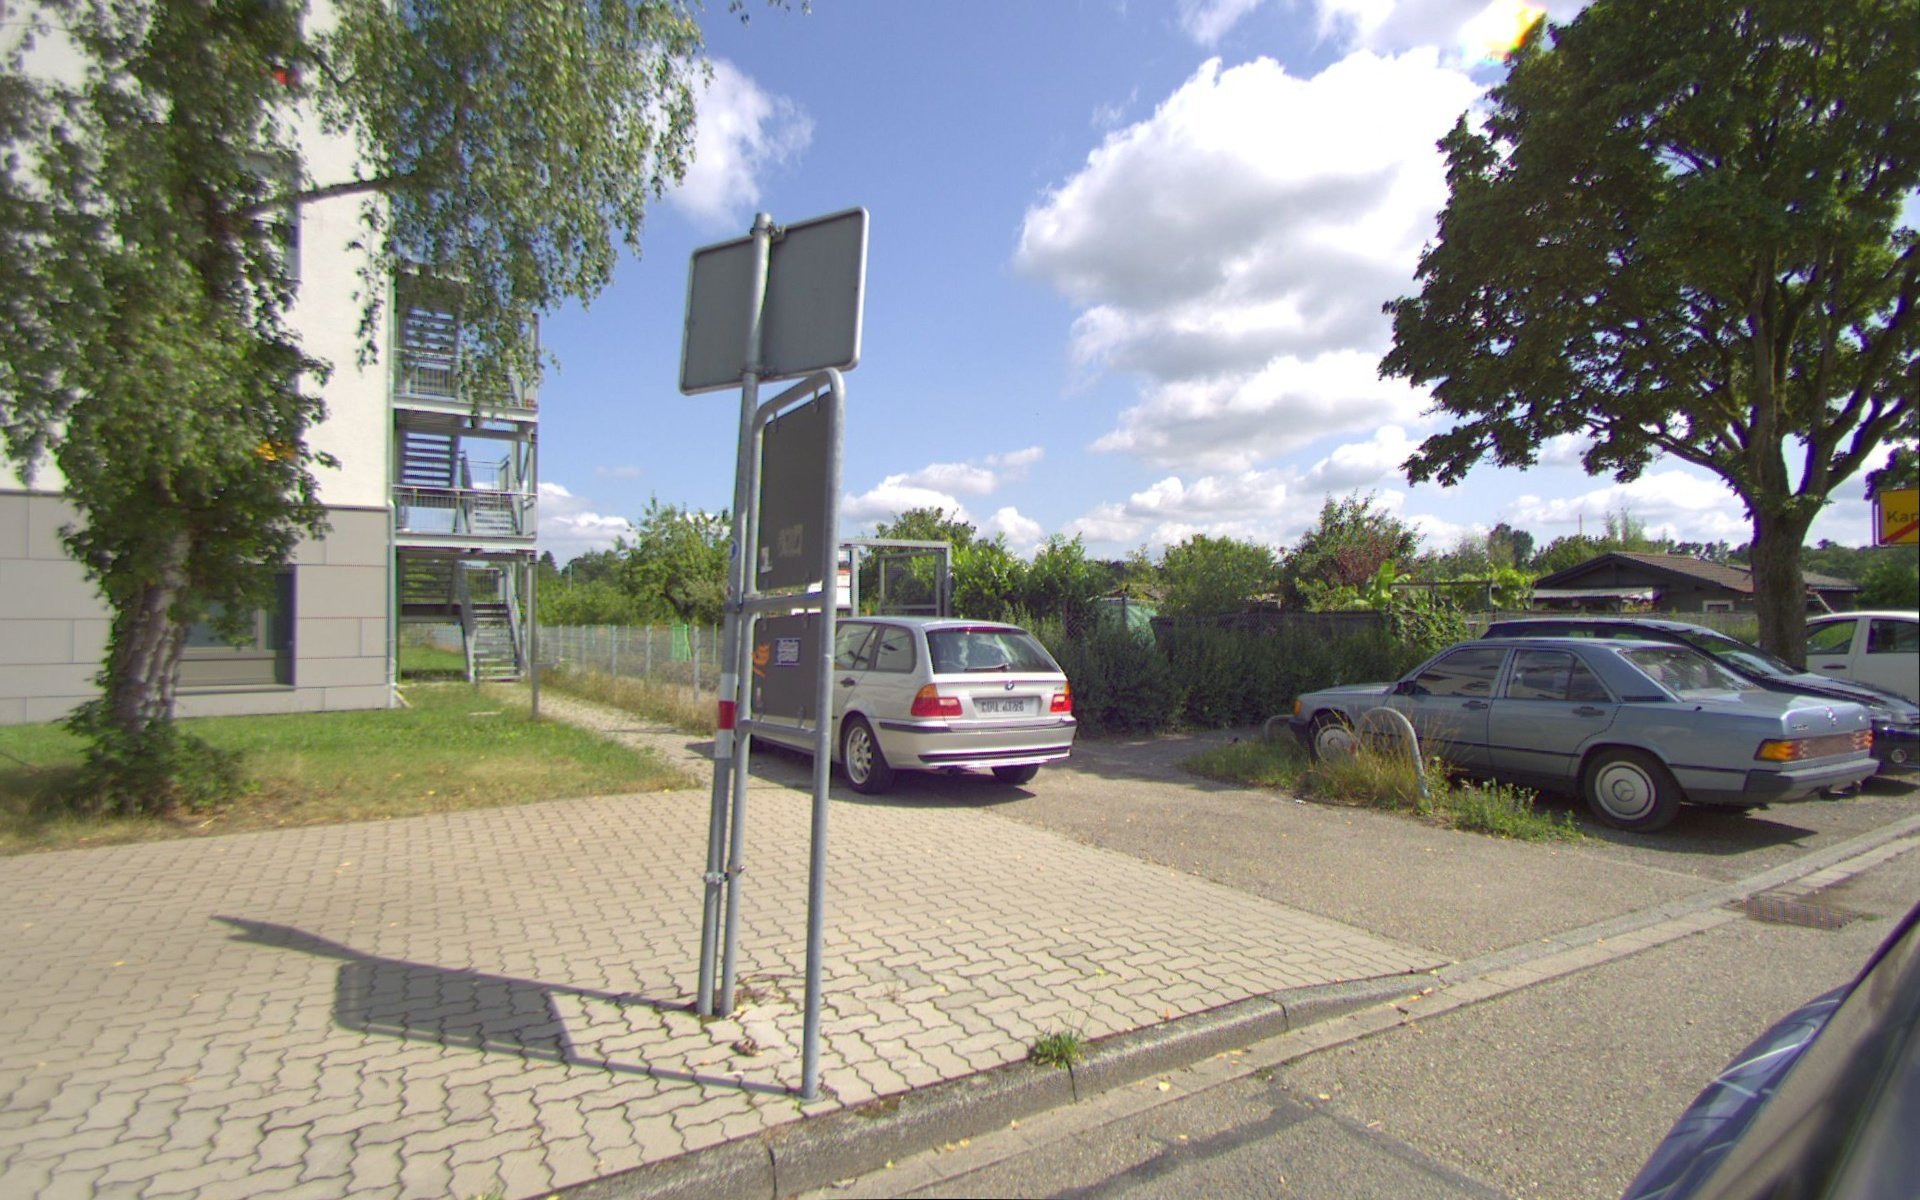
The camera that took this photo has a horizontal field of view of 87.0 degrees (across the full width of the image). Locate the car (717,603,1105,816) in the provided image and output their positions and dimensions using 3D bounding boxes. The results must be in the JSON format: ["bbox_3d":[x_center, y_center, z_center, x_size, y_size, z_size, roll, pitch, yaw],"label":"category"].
[{"bbox_3d":[-0.709,0.780,9.426,1.724,1.448,4.257,0,1,-33],"label":"car"}]

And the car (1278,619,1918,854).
[{"bbox_3d":[4.978,0.898,8.676,1.683,1.409,4.378,0,0,-28],"label":"car"}]

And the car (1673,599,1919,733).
[{"bbox_3d":[11.551,0.811,12.951,1.635,1.569,3.584,0,-3,-35],"label":"car"}]

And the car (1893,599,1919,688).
[{"bbox_3d":[19.590,0.792,17.895,1.841,1.658,4.171,0,-1,-31],"label":"car"}]

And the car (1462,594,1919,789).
[{"bbox_3d":[7.551,0.825,10.303,1.832,1.580,3.945,0,-3,-33],"label":"car"}]

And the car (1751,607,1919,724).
[{"bbox_3d":[14.133,0.884,14.093,1.774,1.599,4.561,0,-3,-35],"label":"car"}]

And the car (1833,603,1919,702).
[{"bbox_3d":[16.219,0.814,15.615,1.727,1.552,3.824,0,-1,-32],"label":"car"}]
